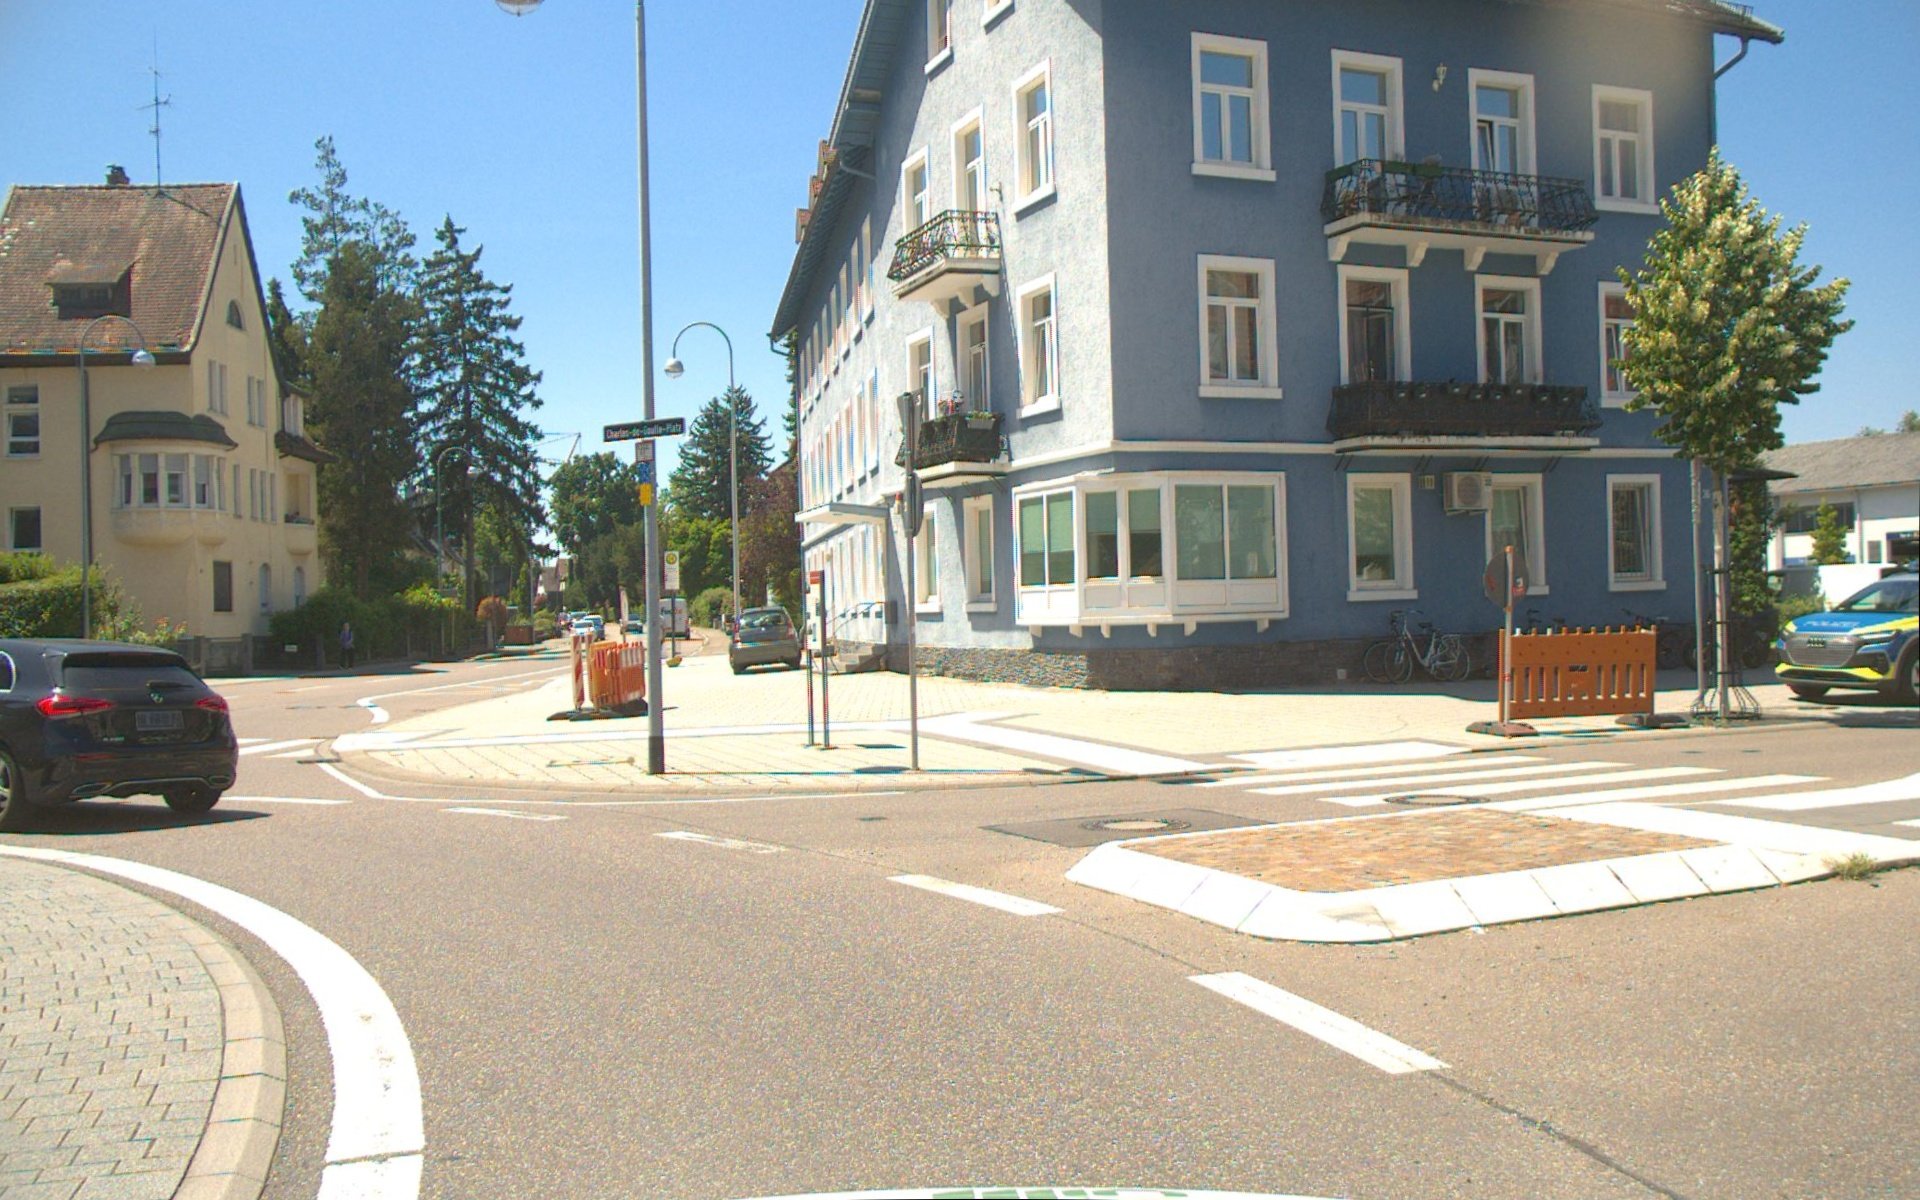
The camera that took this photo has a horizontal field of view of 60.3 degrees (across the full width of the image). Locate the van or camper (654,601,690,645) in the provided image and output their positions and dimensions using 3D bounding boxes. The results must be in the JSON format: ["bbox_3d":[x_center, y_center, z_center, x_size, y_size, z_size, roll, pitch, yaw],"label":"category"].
[{"bbox_3d":[-18.202,1.474,104.593,2.166,2.656,3.990,-1,-1,-10],"label":"van or camper"}]

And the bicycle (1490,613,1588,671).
[{"bbox_3d":[9.820,0.698,28.050,1.684,0.922,0.478,-1,1,-23],"label":"bicycle"}]

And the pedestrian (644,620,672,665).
[{"bbox_3d":[-9.226,1.299,50.481,0.653,1.308,0.587,-5,0,-1],"label":"pedestrian"}]

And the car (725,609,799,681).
[{"bbox_3d":[-4.884,1.065,40.460,1.610,1.533,3.556,-5,0,-8],"label":"car"}]

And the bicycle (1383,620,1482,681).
[{"bbox_3d":[7.811,0.824,27.322,1.684,0.922,0.437,-1,1,-23],"label":"bicycle"}]

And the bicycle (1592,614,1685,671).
[{"bbox_3d":[11.911,0.734,29.022,1.684,0.922,0.478,-1,1,-23],"label":"bicycle"}]

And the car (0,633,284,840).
[{"bbox_3d":[-7.651,1.022,13.516,3.912,1.452,1.956,-1,-2,30],"label":"car"}]

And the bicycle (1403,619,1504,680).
[{"bbox_3d":[8.033,0.803,26.898,1.684,0.922,0.437,-1,1,-23],"label":"bicycle"}]

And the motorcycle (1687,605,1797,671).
[{"bbox_3d":[13.525,0.637,28.590,1.872,1.070,0.584,-1,1,-20],"label":"motorcycle"}]

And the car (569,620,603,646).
[{"bbox_3d":[-25.227,2.251,111.634,1.957,1.680,3.990,-1,-1,-10],"label":"car"}]

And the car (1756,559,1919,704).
[{"bbox_3d":[12.857,0.350,21.891,4.178,1.774,1.893,-1,0,-23],"label":"car"}]

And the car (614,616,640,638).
[{"bbox_3d":[-28.131,2.279,139.842,1.957,1.747,3.991,-1,-1,-9],"label":"car"}]

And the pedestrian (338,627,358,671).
[{"bbox_3d":[-21.722,1.742,58.737,0.512,1.535,0.473,-1,-1,-3],"label":"pedestrian"}]
